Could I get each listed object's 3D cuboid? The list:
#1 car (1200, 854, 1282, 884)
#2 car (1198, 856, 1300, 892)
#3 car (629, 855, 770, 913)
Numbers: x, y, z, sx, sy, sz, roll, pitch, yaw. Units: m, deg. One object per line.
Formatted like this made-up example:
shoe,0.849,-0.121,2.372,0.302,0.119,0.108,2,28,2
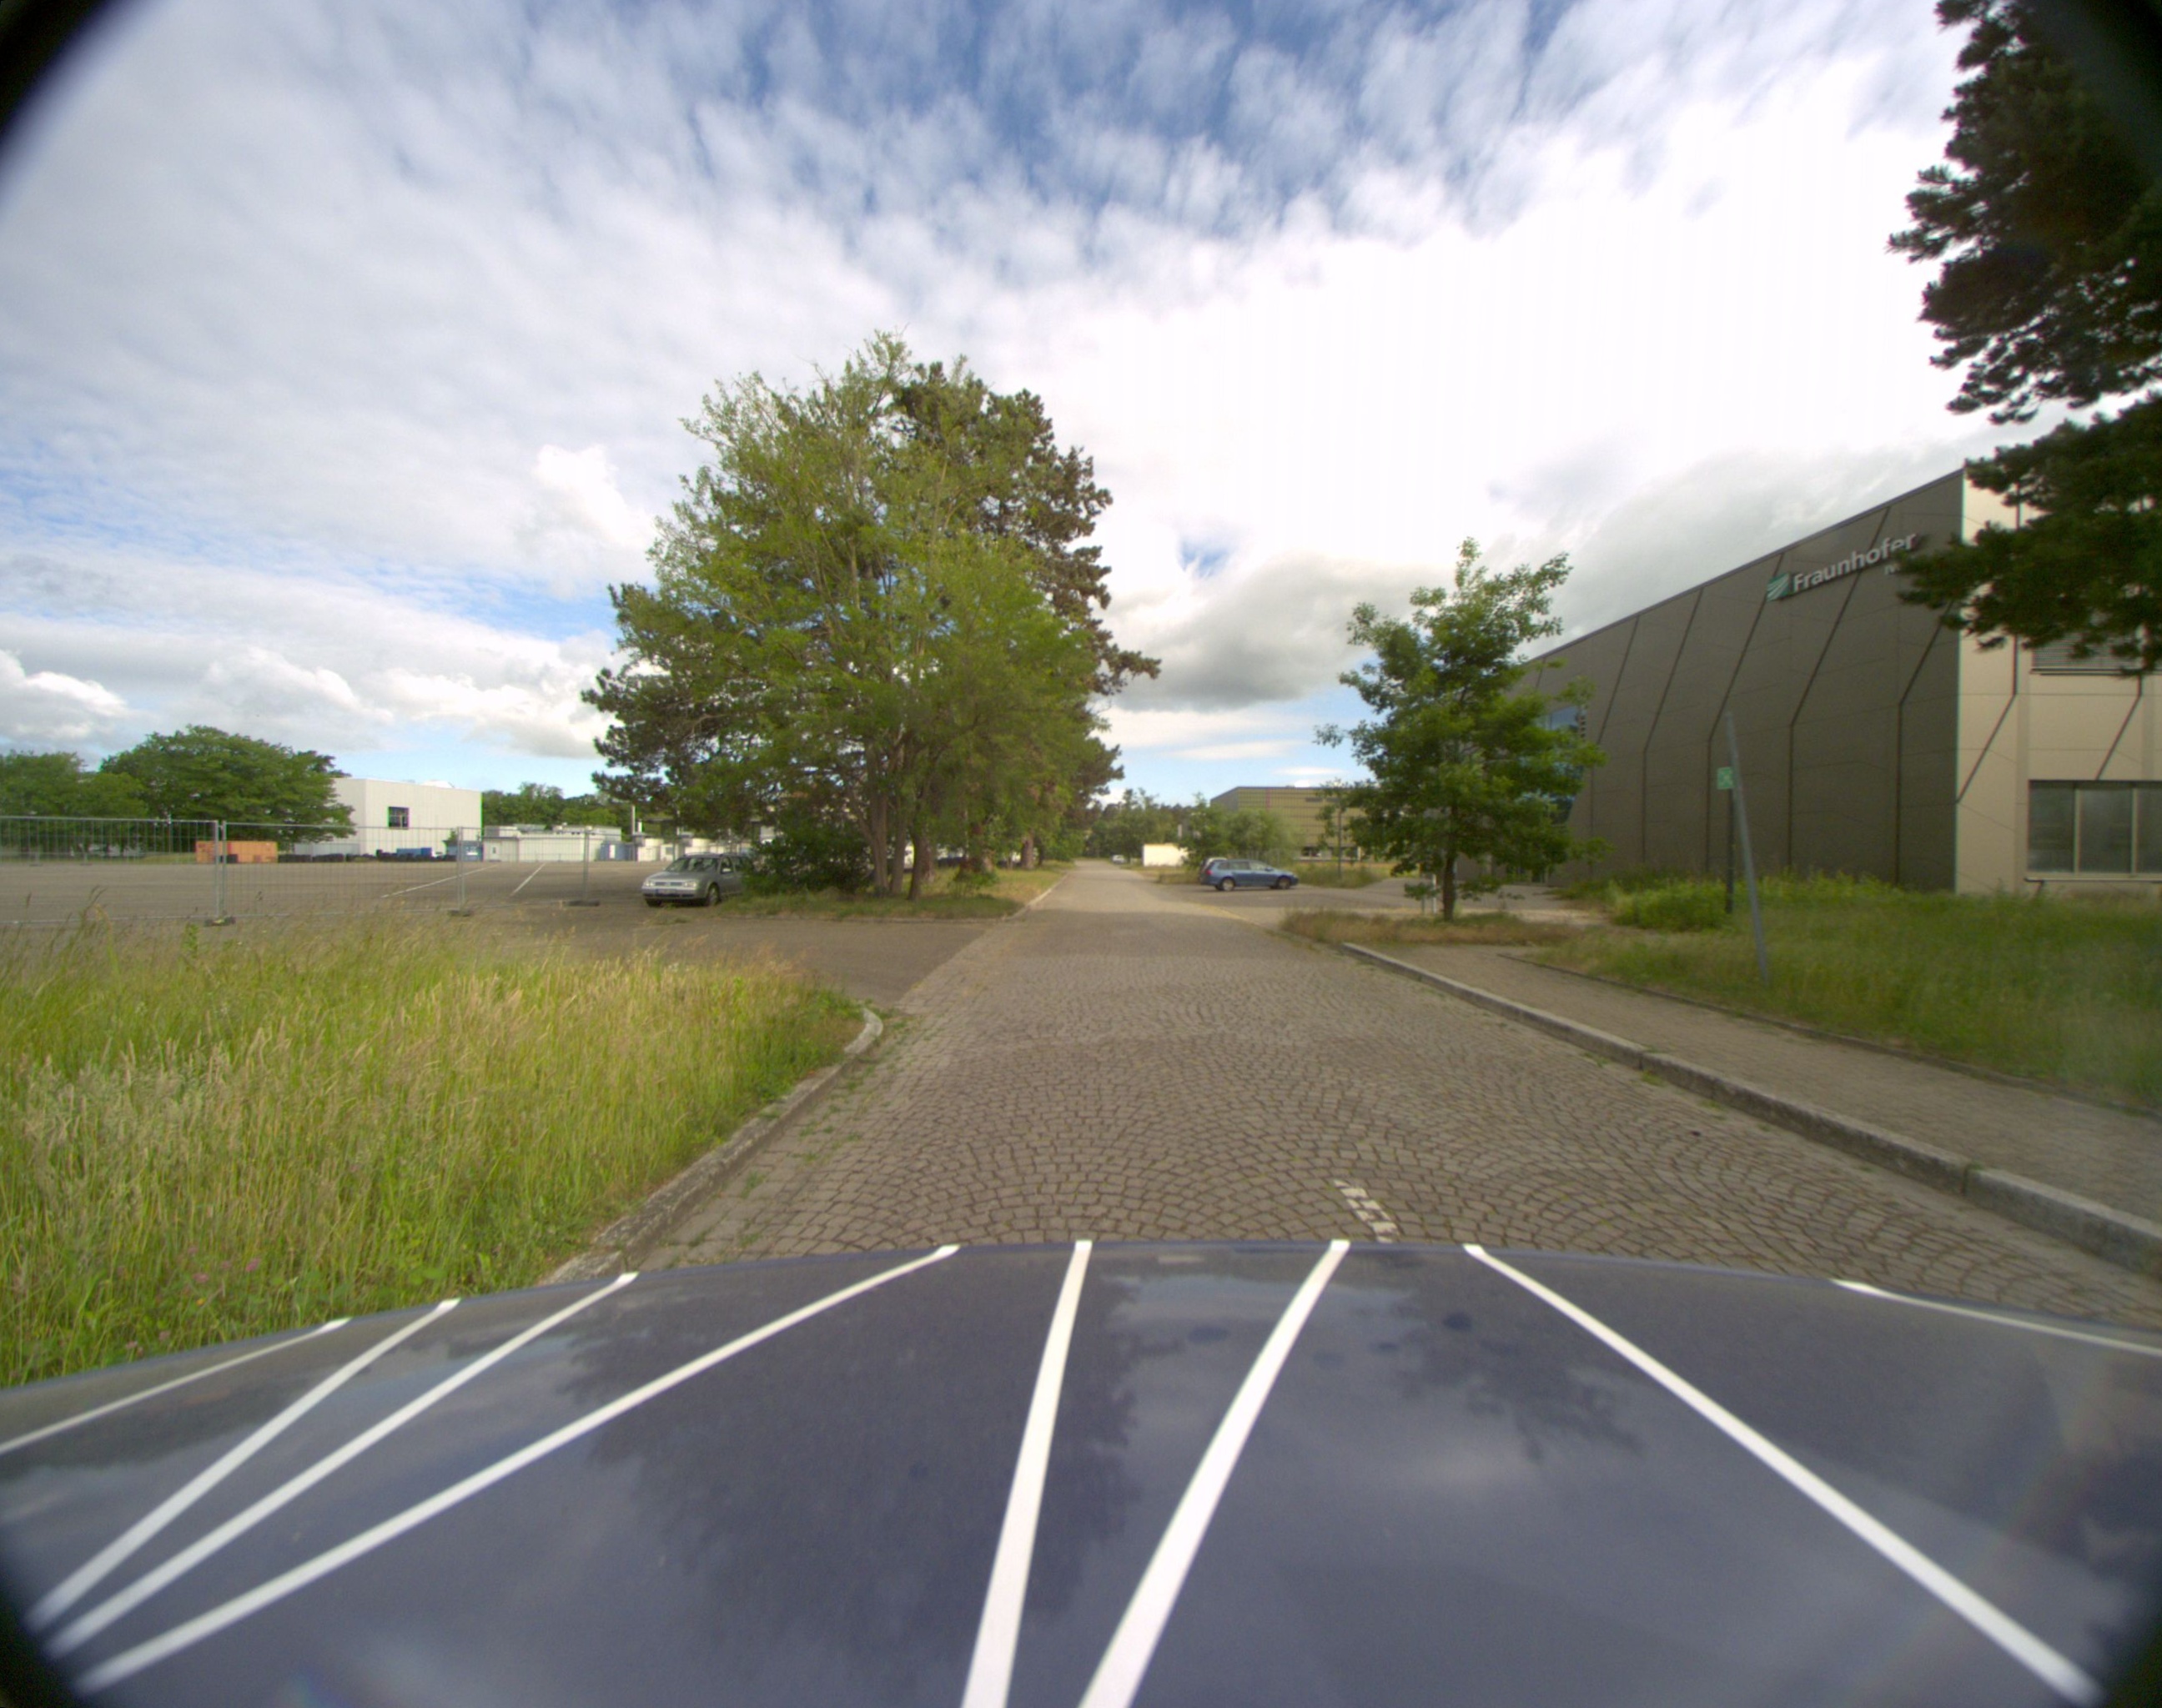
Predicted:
car,9.060,0.844,43.404,4.400,1.537,1.842,-2,0,7
car,7.917,0.924,36.117,4.404,1.501,1.716,-2,1,-2
car,-10.747,0.778,21.813,1.759,1.440,4.327,1,0,2
